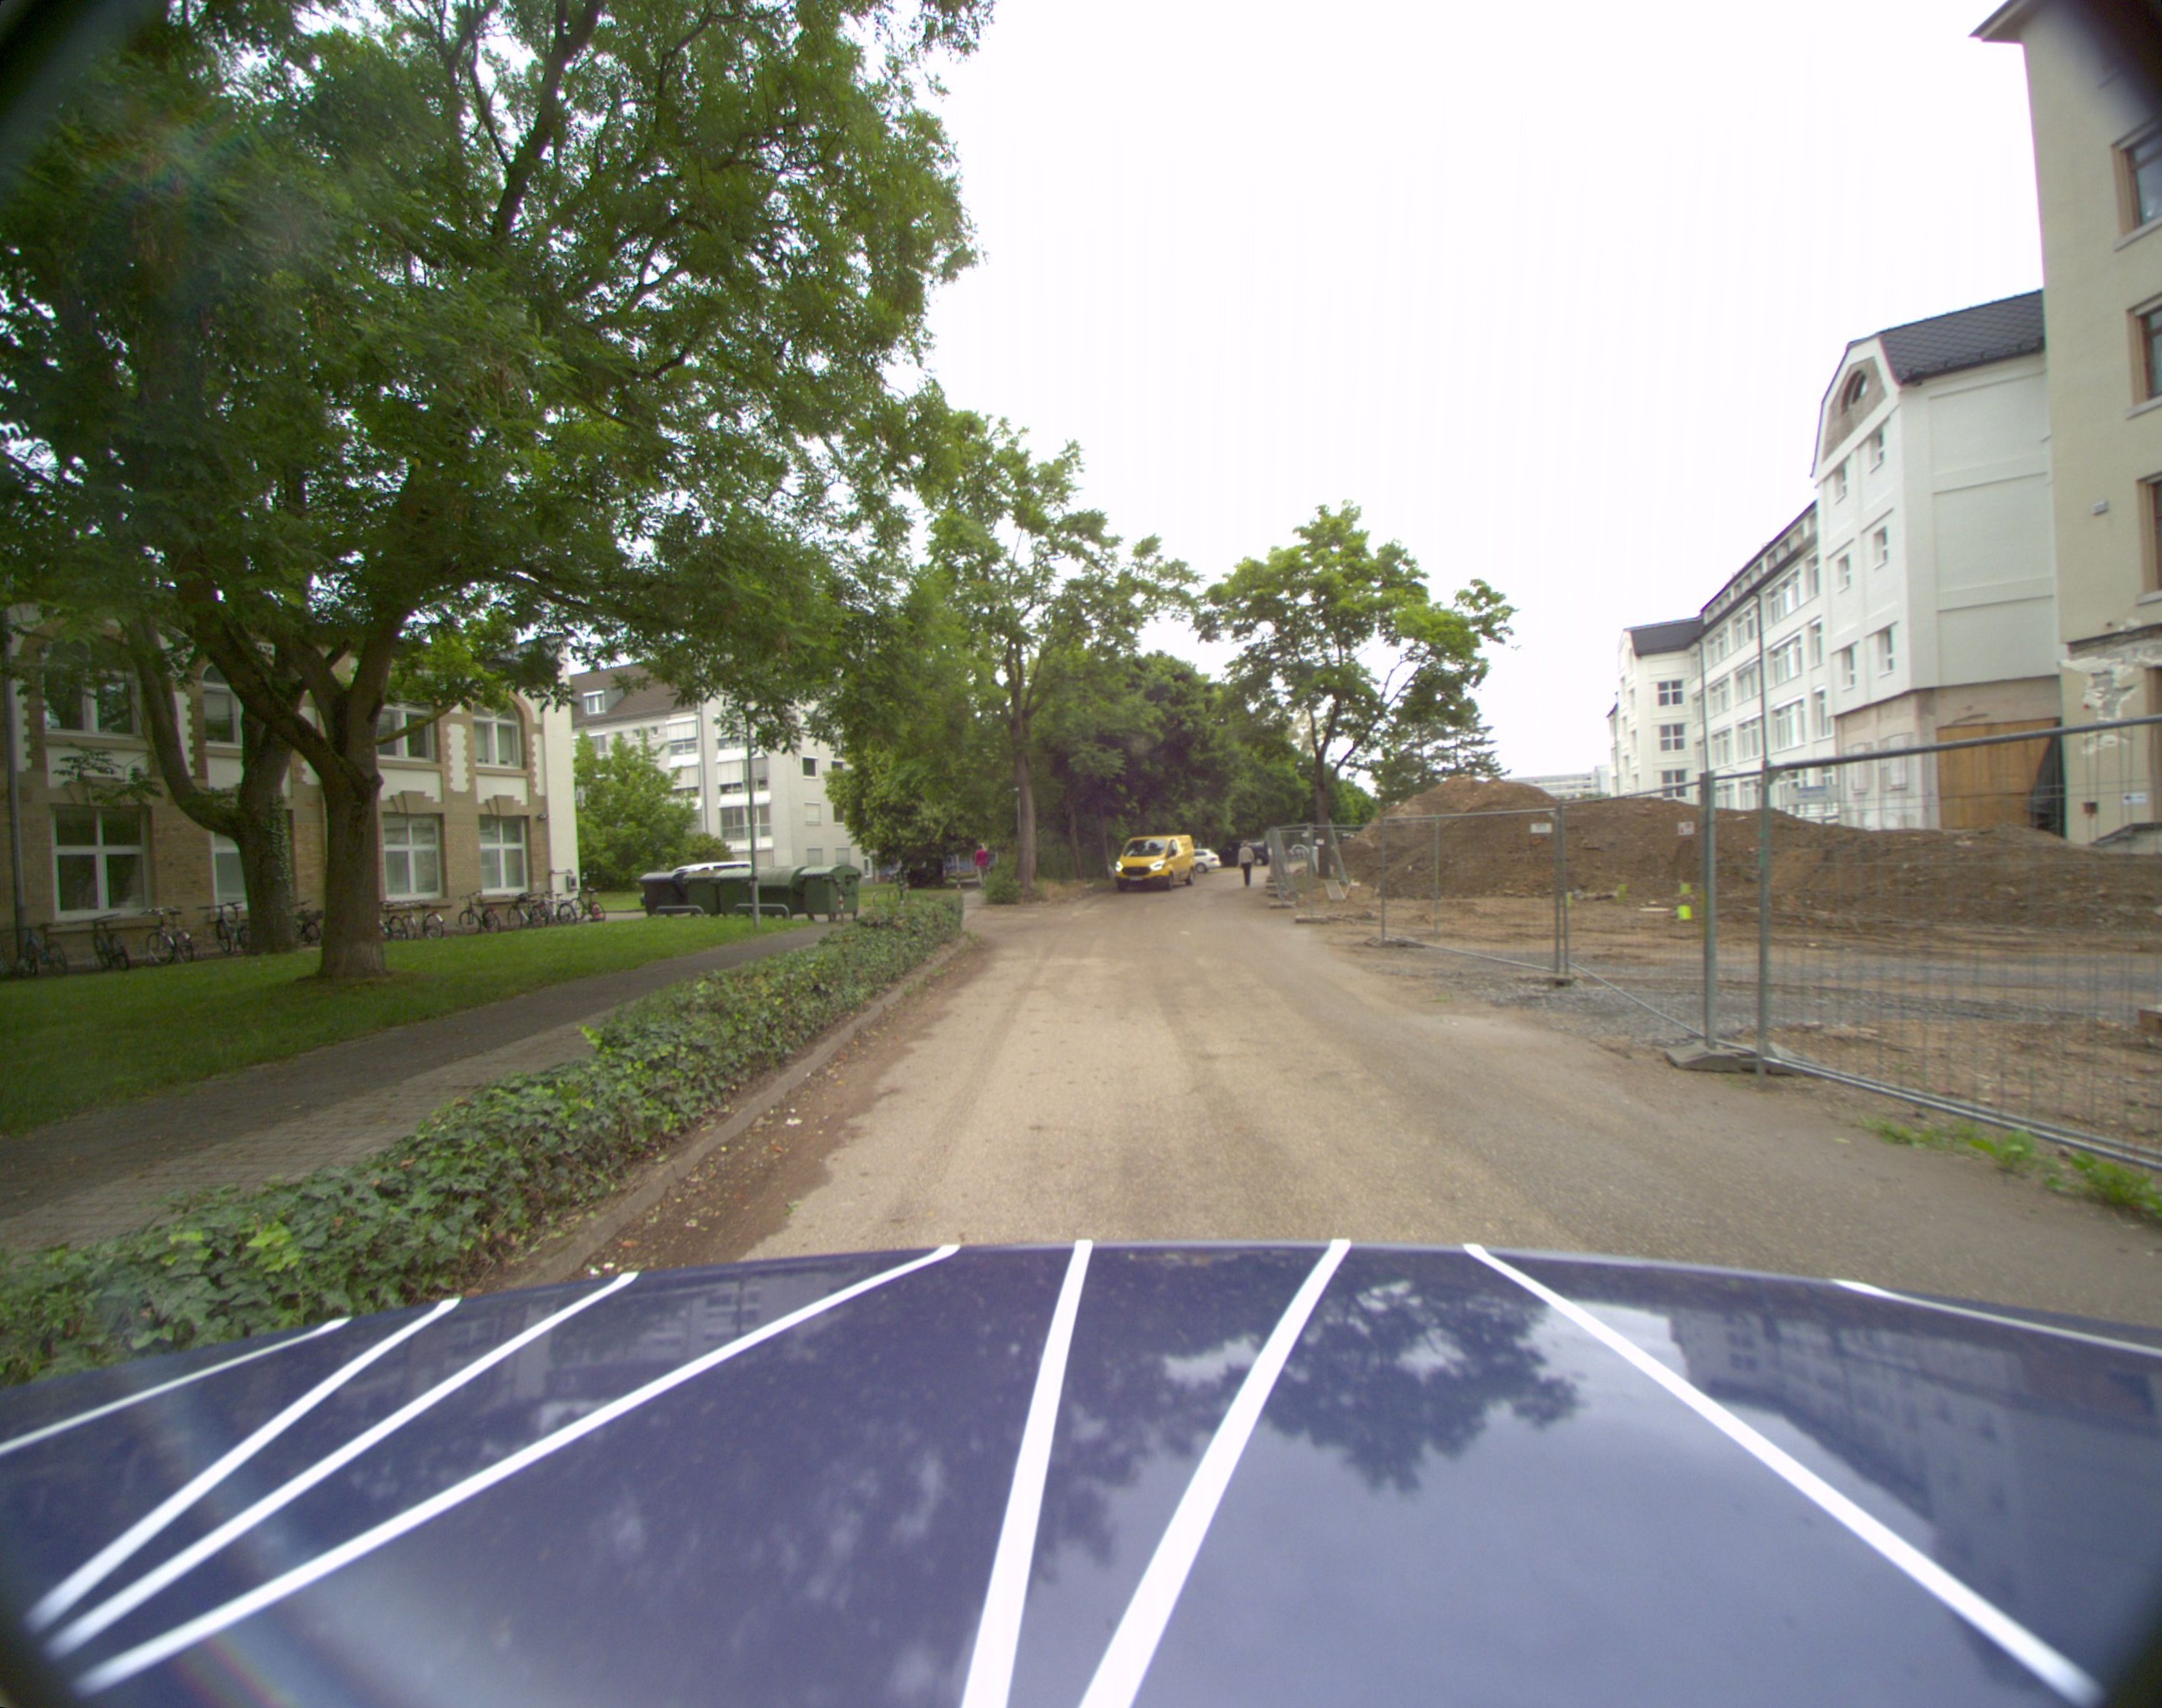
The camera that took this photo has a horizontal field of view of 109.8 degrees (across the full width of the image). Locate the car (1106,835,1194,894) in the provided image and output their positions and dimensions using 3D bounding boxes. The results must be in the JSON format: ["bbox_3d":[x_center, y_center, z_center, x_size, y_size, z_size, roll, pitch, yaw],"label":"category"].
[{"bbox_3d":[2.666,0.340,28.475,2.120,2.002,4.006,-2,0,22],"label":"car"}]

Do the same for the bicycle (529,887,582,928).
[{"bbox_3d":[-15.039,1.538,21.730,1.740,1.108,0.461,-2,1,28],"label":"bicycle"}]

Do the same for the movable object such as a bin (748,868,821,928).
[{"bbox_3d":[-7.661,1.132,19.655,1.283,1.442,1.110,-2,1,25],"label":"movable object such as a bin"}]

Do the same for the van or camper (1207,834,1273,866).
[{"bbox_3d":[12.170,-0.314,58.063,4.490,2.245,2.003,-2,1,27],"label":"van or camper"}]

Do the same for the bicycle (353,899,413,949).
[{"bbox_3d":[-16.707,1.663,18.171,1.740,1.108,0.461,-2,1,28],"label":"bicycle"}]

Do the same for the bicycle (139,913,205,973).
[{"bbox_3d":[-18.123,1.749,15.141,1.740,1.108,0.461,-2,1,28],"label":"bicycle"}]

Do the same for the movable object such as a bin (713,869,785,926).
[{"bbox_3d":[-8.945,1.159,20.492,1.292,1.442,1.110,-3,1,20],"label":"movable object such as a bin"}]

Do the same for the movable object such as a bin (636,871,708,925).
[{"bbox_3d":[-11.629,1.244,21.646,1.359,1.442,1.110,-3,1,21],"label":"movable object such as a bin"}]

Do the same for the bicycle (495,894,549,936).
[{"bbox_3d":[-15.457,1.677,20.986,1.740,1.108,0.461,-2,1,28],"label":"bicycle"}]

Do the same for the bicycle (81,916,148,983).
[{"bbox_3d":[-18.333,1.786,14.411,1.740,1.108,0.461,1,2,28],"label":"bicycle"}]

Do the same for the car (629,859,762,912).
[{"bbox_3d":[-16.530,1.312,32.846,1.897,1.862,4.781,-5,-1,28],"label":"car"}]

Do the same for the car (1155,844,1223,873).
[{"bbox_3d":[6.655,0.290,46.558,3.879,1.565,1.754,-2,1,15],"label":"car"}]

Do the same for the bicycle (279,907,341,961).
[{"bbox_3d":[-17.088,1.745,16.837,1.740,1.108,0.461,-2,1,28],"label":"bicycle"}]

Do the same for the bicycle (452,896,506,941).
[{"bbox_3d":[-15.805,1.673,19.928,1.740,1.108,0.461,-2,1,30],"label":"bicycle"}]

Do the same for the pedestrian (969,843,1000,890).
[{"bbox_3d":[-4.396,0.562,34.679,0.793,2.052,1.203,-2,1,22],"label":"pedestrian"}]

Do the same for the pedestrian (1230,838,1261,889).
[{"bbox_3d":[5.840,0.338,26.973,0.752,1.771,0.662,-3,1,-24],"label":"pedestrian"}]

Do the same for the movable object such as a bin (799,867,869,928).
[{"bbox_3d":[-6.235,1.071,19.177,1.272,1.426,1.074,-2,1,36],"label":"movable object such as a bin"}]

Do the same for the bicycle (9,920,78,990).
[{"bbox_3d":[-18.699,1.790,13.691,1.740,1.108,0.461,-1,1,28],"label":"bicycle"}]

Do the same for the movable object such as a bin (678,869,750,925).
[{"bbox_3d":[-10.191,1.198,21.134,1.324,1.442,1.110,-3,1,20],"label":"movable object such as a bin"}]

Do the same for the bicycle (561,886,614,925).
[{"bbox_3d":[-14.623,1.522,22.504,1.740,1.108,0.461,-2,1,28],"label":"bicycle"}]

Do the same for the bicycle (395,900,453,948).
[{"bbox_3d":[-16.321,1.723,18.857,1.740,1.108,0.461,-2,1,28],"label":"bicycle"}]

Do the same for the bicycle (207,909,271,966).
[{"bbox_3d":[-17.667,1.729,15.941,1.740,1.108,0.461,-2,1,28],"label":"bicycle"}]
